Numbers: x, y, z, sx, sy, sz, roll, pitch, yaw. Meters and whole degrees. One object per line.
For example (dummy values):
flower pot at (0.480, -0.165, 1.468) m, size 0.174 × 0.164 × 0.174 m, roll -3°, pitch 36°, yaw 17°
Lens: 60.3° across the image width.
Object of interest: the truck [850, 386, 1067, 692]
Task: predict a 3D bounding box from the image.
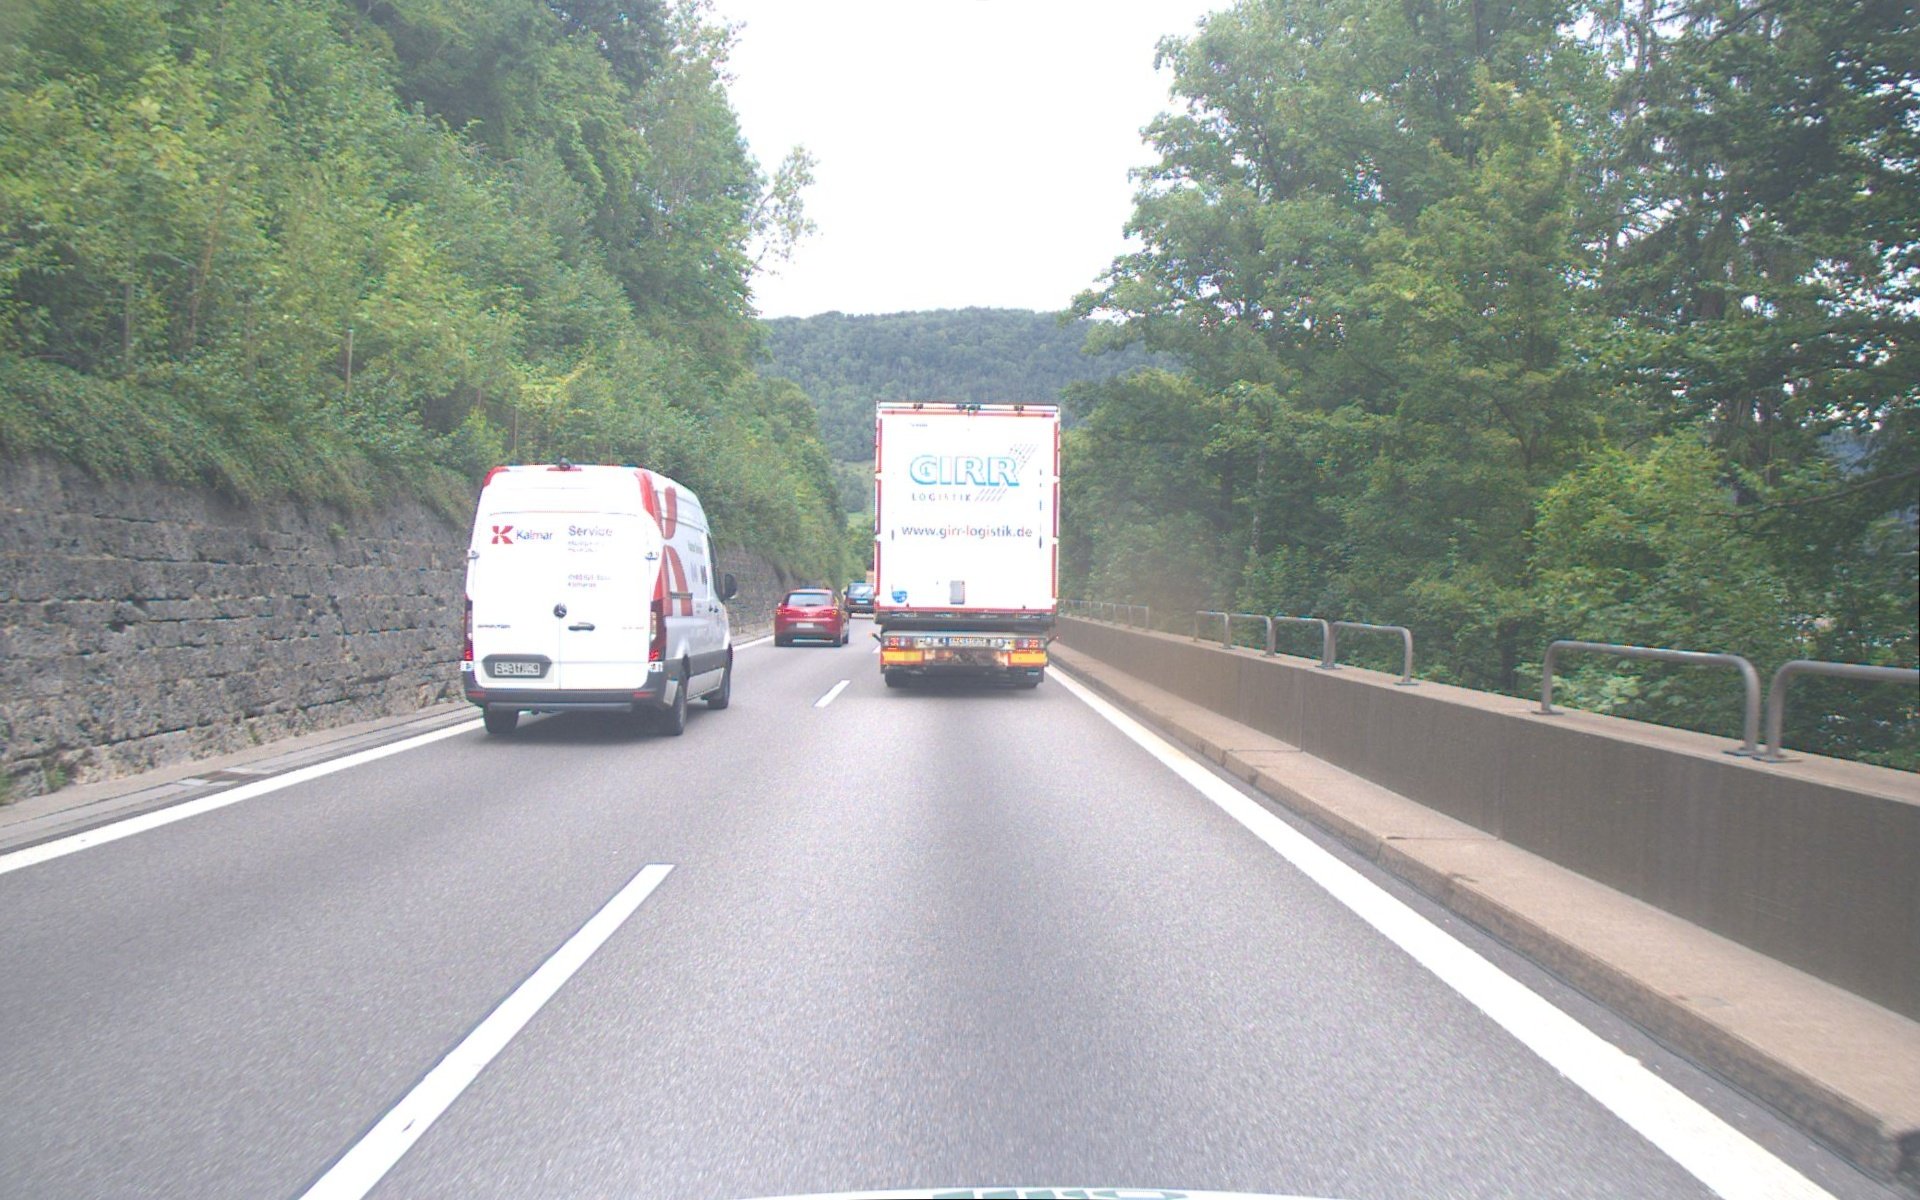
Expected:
truck at (-0.005, -0.823, 26.442) m, size 2.849 × 4.030 × 9.278 m, roll 0°, pitch 0°, yaw 0°

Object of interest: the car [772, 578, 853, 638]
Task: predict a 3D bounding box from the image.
car at (-3.799, 0.204, 43.283) m, size 1.730 × 1.485 × 4.411 m, roll 0°, pitch 0°, yaw 0°

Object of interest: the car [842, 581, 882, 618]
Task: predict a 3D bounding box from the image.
car at (-4.561, -0.022, 77.355) m, size 1.635 × 1.667 × 4.067 m, roll 0°, pitch 0°, yaw -1°

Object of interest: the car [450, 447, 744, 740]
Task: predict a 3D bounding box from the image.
car at (-3.685, -0.061, 18.082) m, size 1.985 × 2.630 × 6.272 m, roll 0°, pitch 0°, yaw -2°
